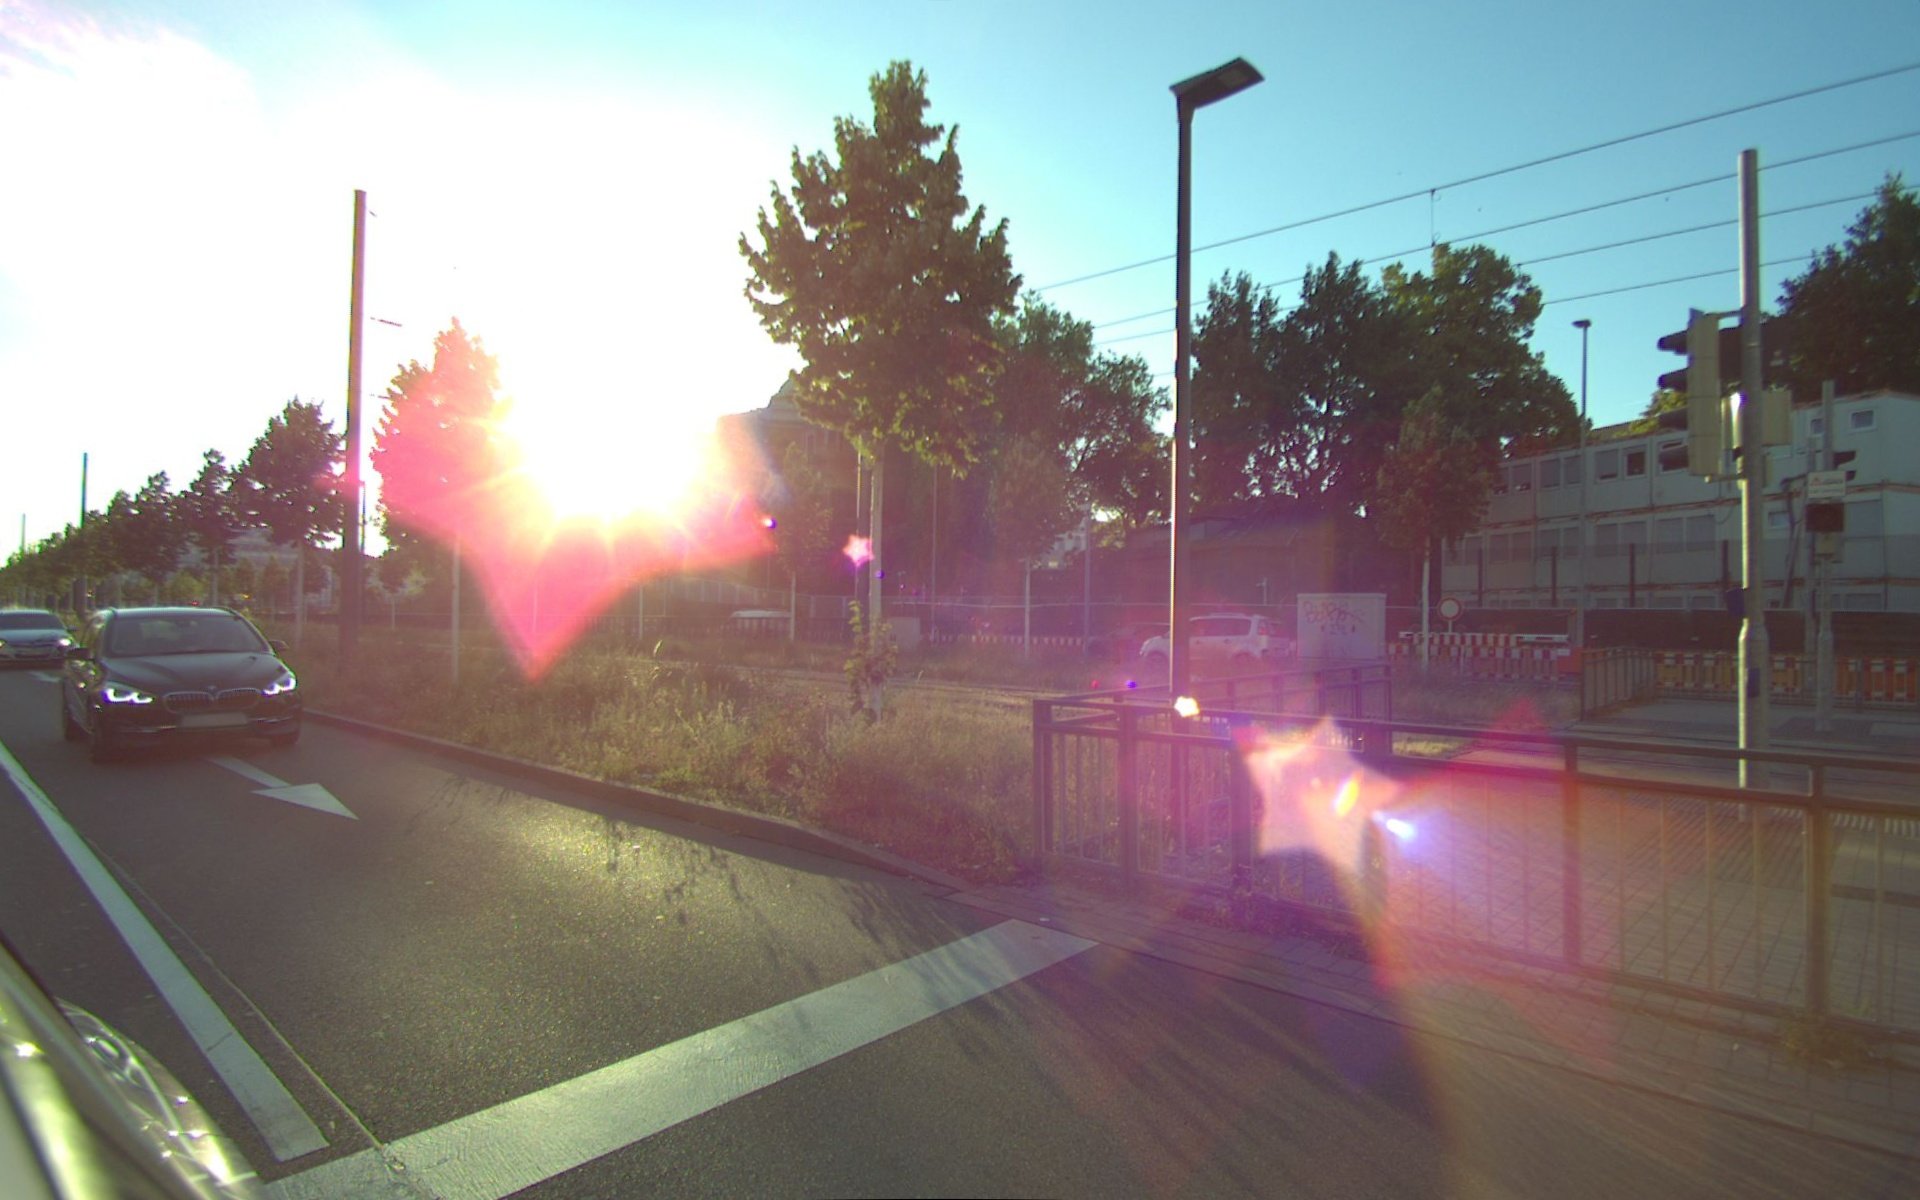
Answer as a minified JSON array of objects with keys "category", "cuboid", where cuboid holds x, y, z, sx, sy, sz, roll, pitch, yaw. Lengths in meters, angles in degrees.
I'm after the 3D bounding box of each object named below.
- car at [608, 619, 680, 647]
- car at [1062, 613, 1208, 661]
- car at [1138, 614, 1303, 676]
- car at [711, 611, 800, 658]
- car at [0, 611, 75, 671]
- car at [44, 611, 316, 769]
[{"category":"car","cuboid":[-18.001,1.876,57.577,4.522,1.492,1.972,-2,-2,43]},{"category":"car","cuboid":[5.850,1.261,34.251,4.523,1.492,1.971,-2,-2,44]},{"category":"car","cuboid":[6.719,1.122,26.331,3.783,1.492,1.780,-1,-2,43]},{"category":"car","cuboid":[-10.096,1.689,49.717,4.752,2.184,1.971,-3,-2,45]},{"category":"car","cuboid":[-24.776,1.068,26.628,4.843,1.444,1.834,-3,-2,44]},{"category":"car","cuboid":[-9.186,0.915,11.734,4.844,1.444,1.834,-3,-2,44]}]
